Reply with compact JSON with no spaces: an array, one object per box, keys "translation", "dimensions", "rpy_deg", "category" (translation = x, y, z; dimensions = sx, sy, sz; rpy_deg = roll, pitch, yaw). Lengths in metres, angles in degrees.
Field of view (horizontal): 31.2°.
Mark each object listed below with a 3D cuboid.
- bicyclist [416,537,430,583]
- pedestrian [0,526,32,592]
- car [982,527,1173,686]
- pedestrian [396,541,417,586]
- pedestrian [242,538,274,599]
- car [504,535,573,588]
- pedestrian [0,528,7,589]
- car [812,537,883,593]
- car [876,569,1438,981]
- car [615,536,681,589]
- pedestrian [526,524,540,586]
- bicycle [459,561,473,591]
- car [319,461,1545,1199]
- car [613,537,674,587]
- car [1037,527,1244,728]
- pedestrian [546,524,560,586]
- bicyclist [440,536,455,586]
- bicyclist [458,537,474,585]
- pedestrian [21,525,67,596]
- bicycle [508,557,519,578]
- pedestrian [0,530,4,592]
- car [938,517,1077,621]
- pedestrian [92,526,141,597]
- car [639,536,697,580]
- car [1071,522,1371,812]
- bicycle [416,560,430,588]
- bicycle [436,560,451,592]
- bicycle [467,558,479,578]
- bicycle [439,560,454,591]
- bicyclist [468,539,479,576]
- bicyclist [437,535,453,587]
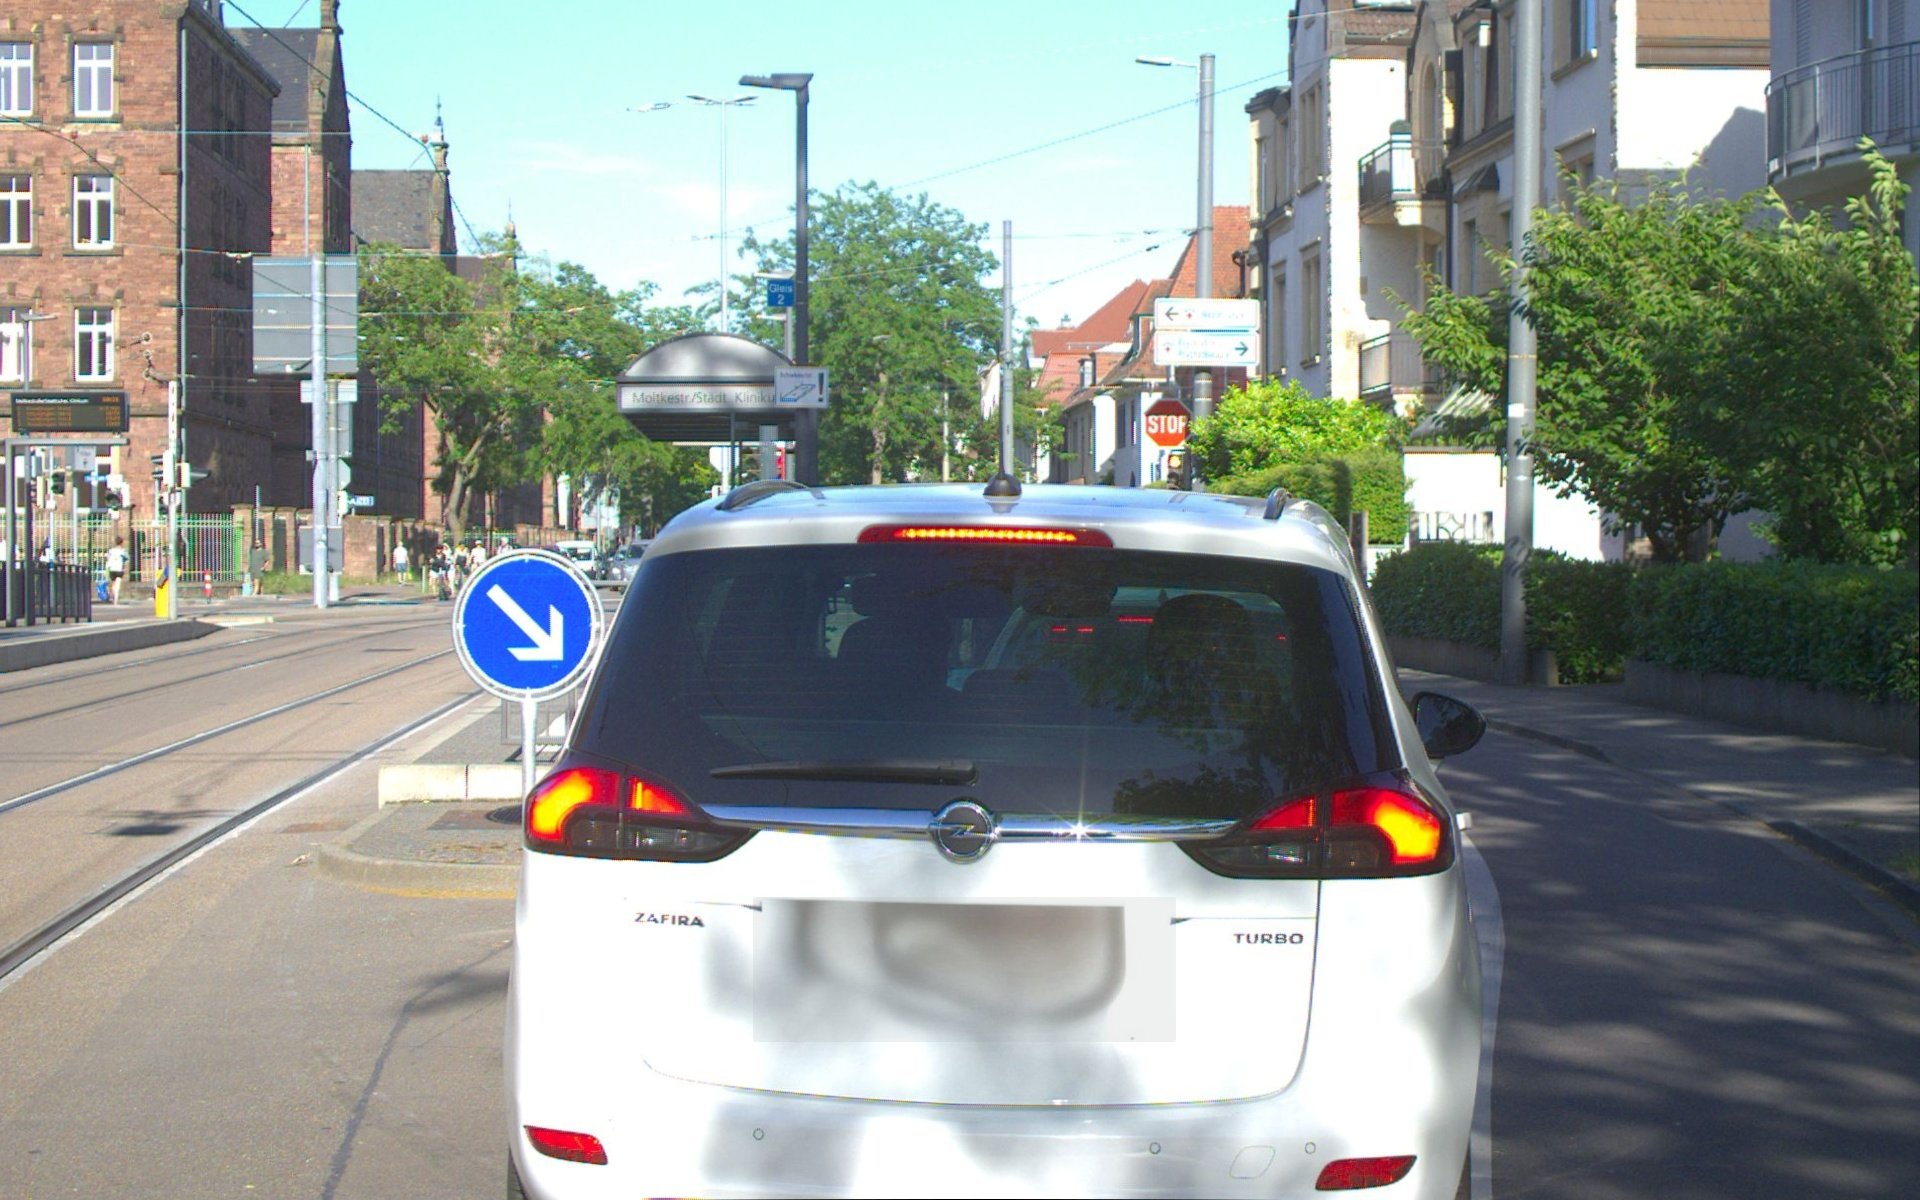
[{"translation":[-17.977,-1.330,115.092],"dimensions":[0.444,1.548,0.496],"rpy_deg":[0,1,-4],"category":"bicyclist"},{"translation":[-23.108,-1.001,83.655],"dimensions":[0.802,1.583,0.935],"rpy_deg":[1,0,-3],"category":"pedestrian"},{"translation":[1.178,0.027,36.175],"dimensions":[1.830,1.574,4.010],"rpy_deg":[0,1,-1],"category":"car"},{"translation":[-21.366,-1.417,132.696],"dimensions":[0.734,1.708,0.754],"rpy_deg":[1,0,-6],"category":"pedestrian"},{"translation":[-19.852,-0.904,97.248],"dimensions":[0.734,1.708,0.706],"rpy_deg":[1,0,-1],"category":"pedestrian"},{"translation":[-13.112,-1.219,107.083],"dimensions":[1.993,1.623,4.001],"rpy_deg":[0,1,-5],"category":"car"},{"translation":[-25.095,-1.073,88.159],"dimensions":[0.933,1.583,0.804],"rpy_deg":[1,0,23],"category":"pedestrian"},{"translation":[-3.378,-1.048,102.427],"dimensions":[1.993,1.623,4.001],"rpy_deg":[0,1,-4],"category":"car"},{"translation":[0.746,0.591,13.978],"dimensions":[1.953,1.392,4.000],"rpy_deg":[0,1,2],"category":"car"},{"translation":[-9.732,-1.183,107.306],"dimensions":[1.993,1.623,4.001],"rpy_deg":[0,1,-5],"category":"car"},{"translation":[-13.902,-1.471,111.943],"dimensions":[0.444,2.007,0.496],"rpy_deg":[0,1,-4],"category":"pedestrian"},{"translation":[-15.693,-0.773,109.160],"dimensions":[0.344,0.946,0.997],"rpy_deg":[1,0,-4],"category":"bicycle"},{"translation":[0.138,0.584,7.597],"dimensions":[1.994,1.639,3.992],"rpy_deg":[1,1,6],"category":"car"},{"translation":[-10.528,-1.266,114.412],"dimensions":[1.993,1.623,4.001],"rpy_deg":[0,1,-5],"category":"car"},{"translation":[1.496,0.181,29.251],"dimensions":[1.637,1.595,3.854],"rpy_deg":[0,1,2],"category":"car"},{"translation":[-13.296,-1.466,112.247],"dimensions":[0.444,2.007,0.496],"rpy_deg":[0,1,-4],"category":"pedestrian"},{"translation":[-15.888,-1.215,106.561],"dimensions":[0.444,1.548,0.496],"rpy_deg":[0,1,-4],"category":"bicyclist"},{"translation":[-15.684,-1.238,109.146],"dimensions":[0.444,1.548,0.496],"rpy_deg":[0,1,-4],"category":"bicyclist"},{"translation":[-22.154,-0.954,83.145],"dimensions":[0.843,1.686,1.029],"rpy_deg":[1,0,-1],"category":"pedestrian"},{"translation":[-15.711,-1.145,120.979],"dimensions":[0.344,0.722,0.997],"rpy_deg":[1,1,-4],"category":"bicycle"},{"translation":[-24.989,-1.004,88.242],"dimensions":[0.802,1.583,0.935],"rpy_deg":[1,0,-19],"category":"pedestrian"},{"translation":[0.669,-0.485,51.755],"dimensions":[1.993,1.497,4.000],"rpy_deg":[0,1,-1],"category":"car"},{"translation":[-20.298,-0.932,82.742],"dimensions":[0.895,1.678,1.029],"rpy_deg":[1,0,-1],"category":"pedestrian"},{"translation":[-11.075,-1.609,130.649],"dimensions":[1.993,1.623,4.001],"rpy_deg":[0,1,-2],"category":"car"},{"translation":[1.494,0.333,20.823],"dimensions":[1.637,1.595,3.854],"rpy_deg":[0,1,2],"category":"car"},{"translation":[-17.981,-0.864,115.136],"dimensions":[0.344,0.946,0.997],"rpy_deg":[1,0,-4],"category":"bicycle"},{"translation":[-15.478,-0.709,103.078],"dimensions":[0.344,0.946,1.160],"rpy_deg":[1,0,-4],"category":"bicycle"},{"translation":[-17.077,-1.123,120.592],"dimensions":[0.344,0.722,0.997],"rpy_deg":[1,1,-4],"category":"bicycle"},{"translation":[-15.924,-0.751,106.611],"dimensions":[0.344,0.946,0.997],"rpy_deg":[1,0,-4],"category":"bicycle"},{"translation":[-17.071,-1.495,120.591],"dimensions":[0.344,1.315,0.405],"rpy_deg":[1,0,-4],"category":"bicyclist"},{"translation":[-15.470,-1.178,103.279],"dimensions":[0.444,1.548,0.743],"rpy_deg":[0,1,-4],"category":"bicyclist"}]
